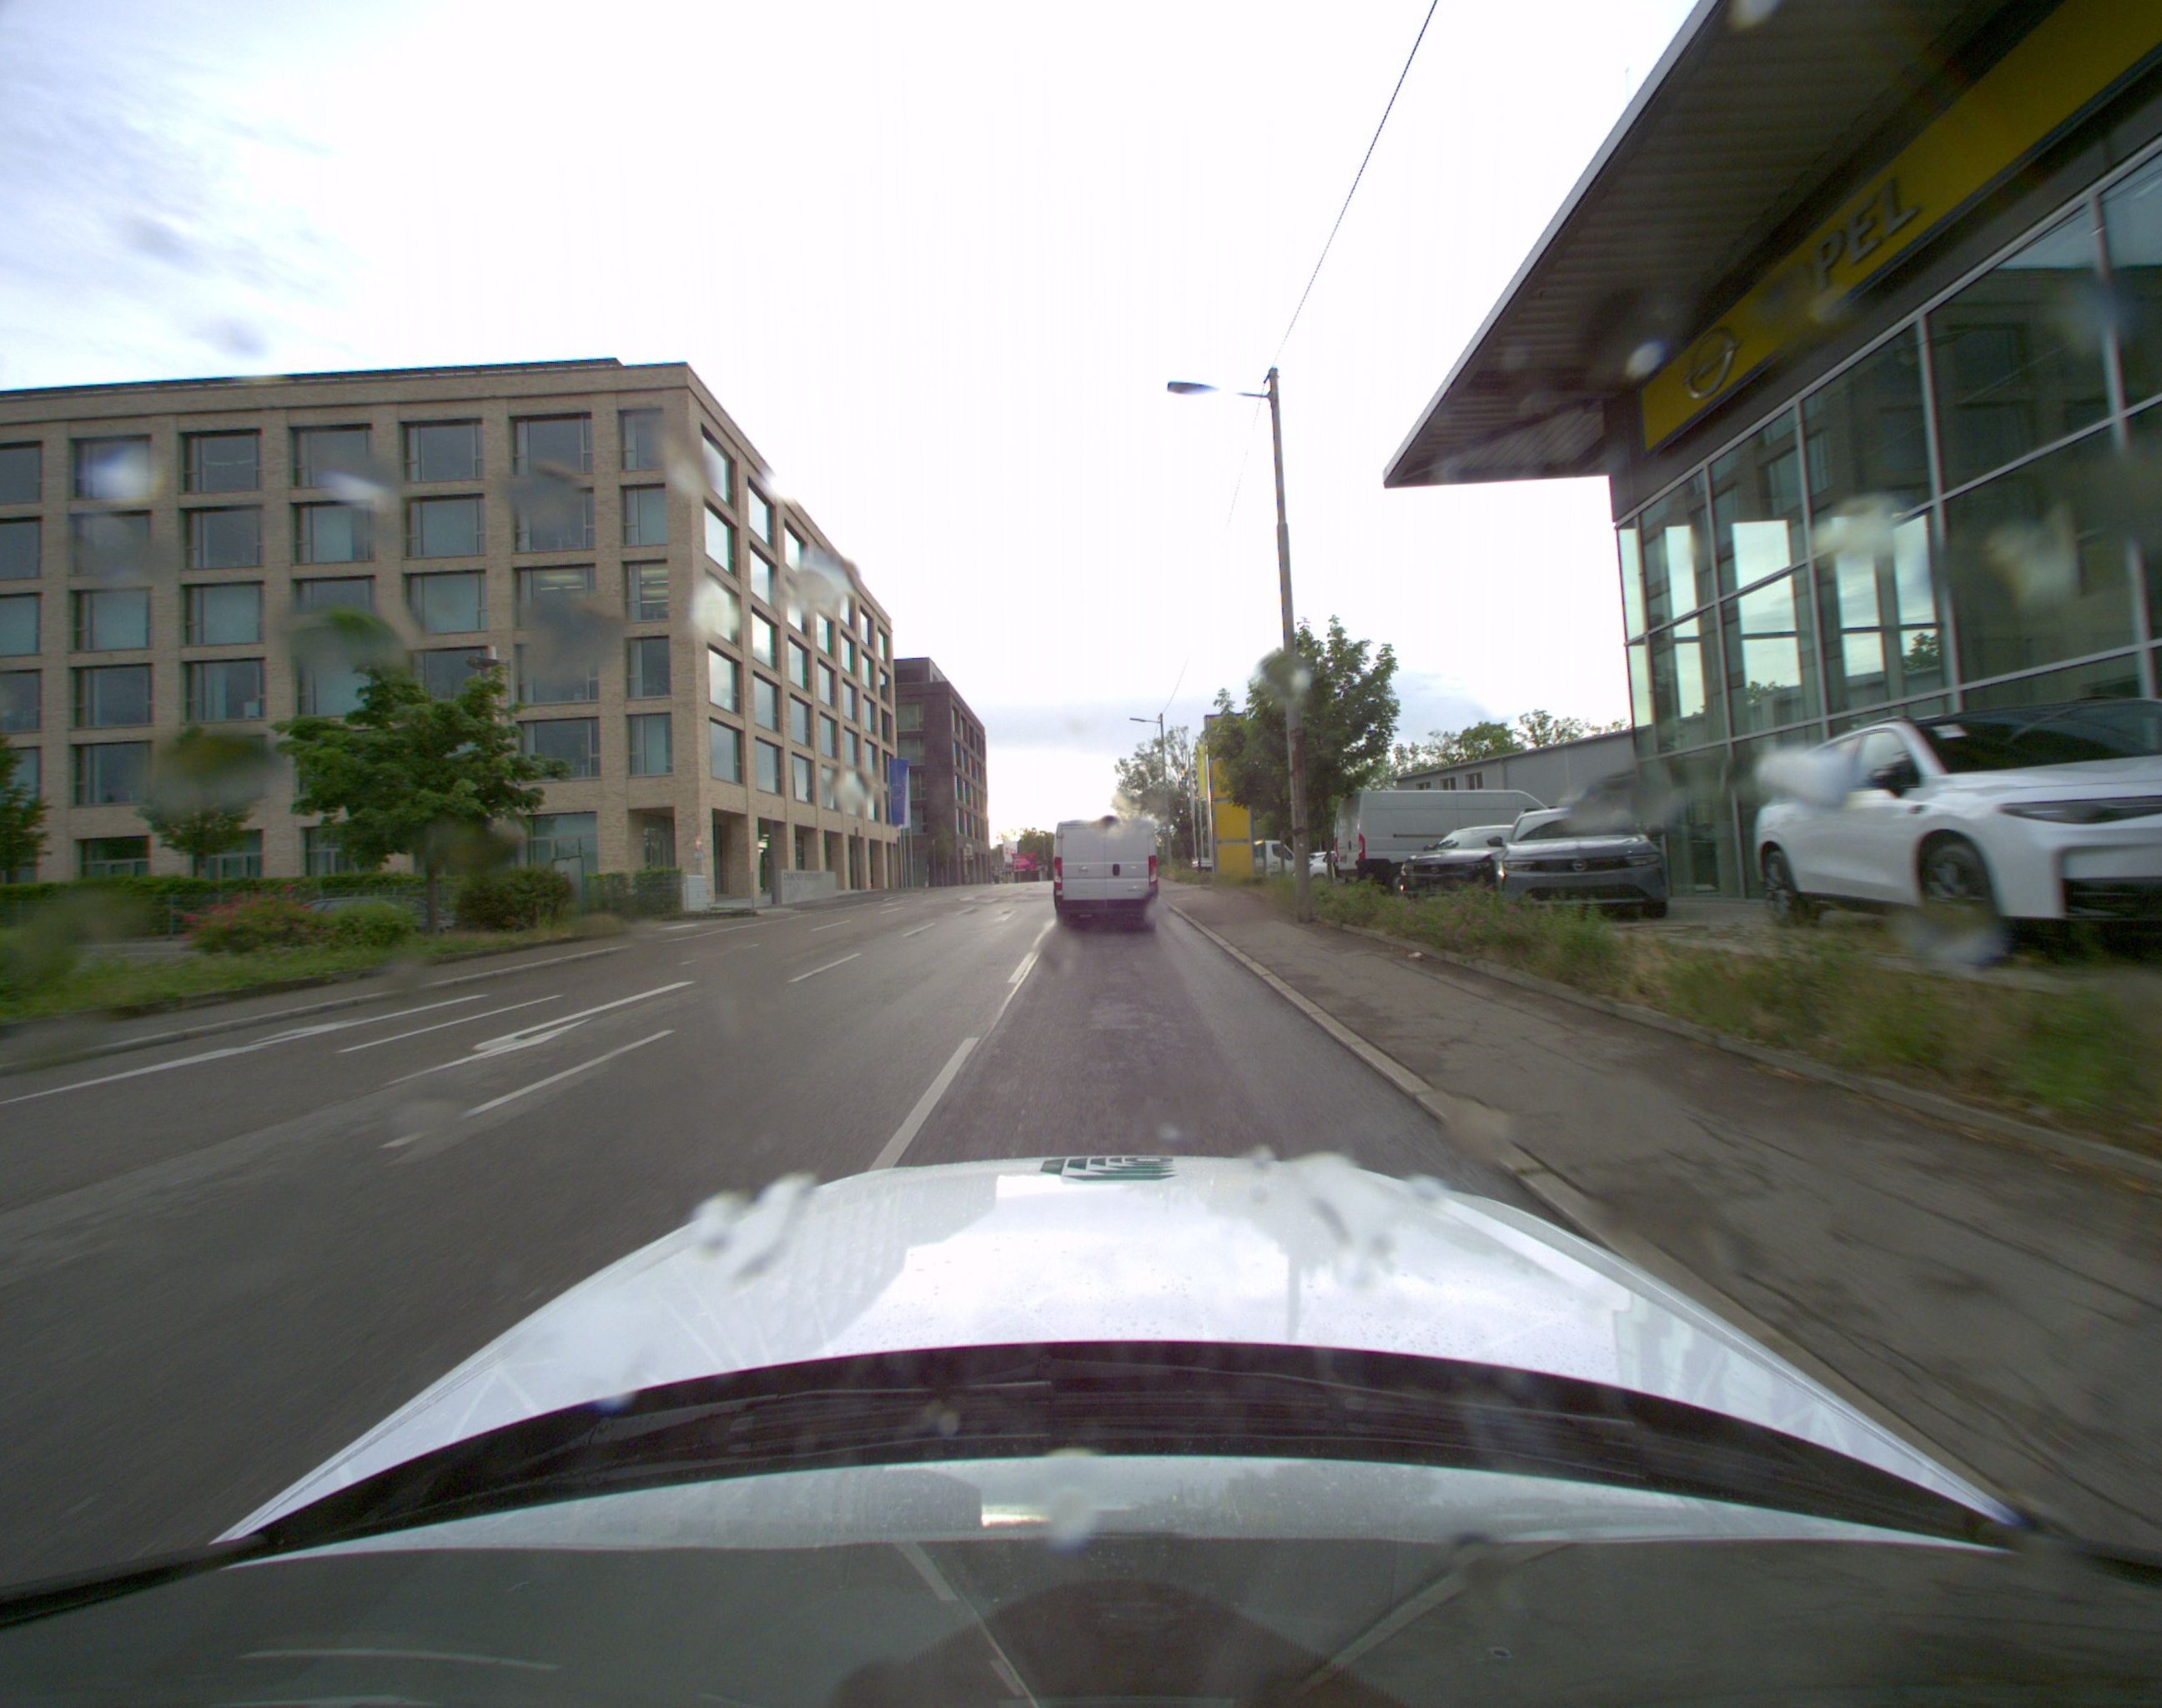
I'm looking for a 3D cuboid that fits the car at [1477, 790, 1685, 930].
[{"bbox_3d":[6.680,0.067,11.165,1.891,1.454,4.600,-5,-1,29],"label":"car"}]

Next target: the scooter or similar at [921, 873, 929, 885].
[{"bbox_3d":[-13.307,2.136,69.497,0.349,1.072,1.429,-2,-2,2],"label":"scooter or similar"}]

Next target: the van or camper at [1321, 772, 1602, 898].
[{"bbox_3d":[9.042,-0.434,19.803,5.716,2.724,2.352,-2,0,1],"label":"van or camper"}]

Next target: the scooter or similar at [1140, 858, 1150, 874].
[{"bbox_3d":[6.074,1.135,77.248,0.436,1.564,1.264,-1,0,-20],"label":"scooter or similar"}]

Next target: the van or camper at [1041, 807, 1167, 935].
[{"bbox_3d":[0.537,0.322,18.000,2.331,2.357,5.202,-2,0,2],"label":"van or camper"}]

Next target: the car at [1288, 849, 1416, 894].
[{"bbox_3d":[9.659,0.606,29.294,3.971,1.428,1.896,-2,0,2],"label":"car"}]

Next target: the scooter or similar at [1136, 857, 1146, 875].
[{"bbox_3d":[5.653,1.134,77.078,0.436,1.587,1.264,-1,0,-21],"label":"scooter or similar"}]

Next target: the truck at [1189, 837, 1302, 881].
[{"bbox_3d":[8.153,0.232,40.687,5.132,2.013,2.344,-2,0,-1],"label":"truck"}]

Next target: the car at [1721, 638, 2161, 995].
[{"bbox_3d":[6.553,-0.233,5.823,1.975,1.710,4.604,-4,-1,24],"label":"car"}]

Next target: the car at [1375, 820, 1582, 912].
[{"bbox_3d":[7.729,0.187,15.623,4.543,1.454,1.893,-3,-2,-41],"label":"car"}]

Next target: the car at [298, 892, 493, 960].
[{"bbox_3d":[-16.814,1.745,20.081,3.475,1.464,1.544,-2,0,1],"label":"car"}]
